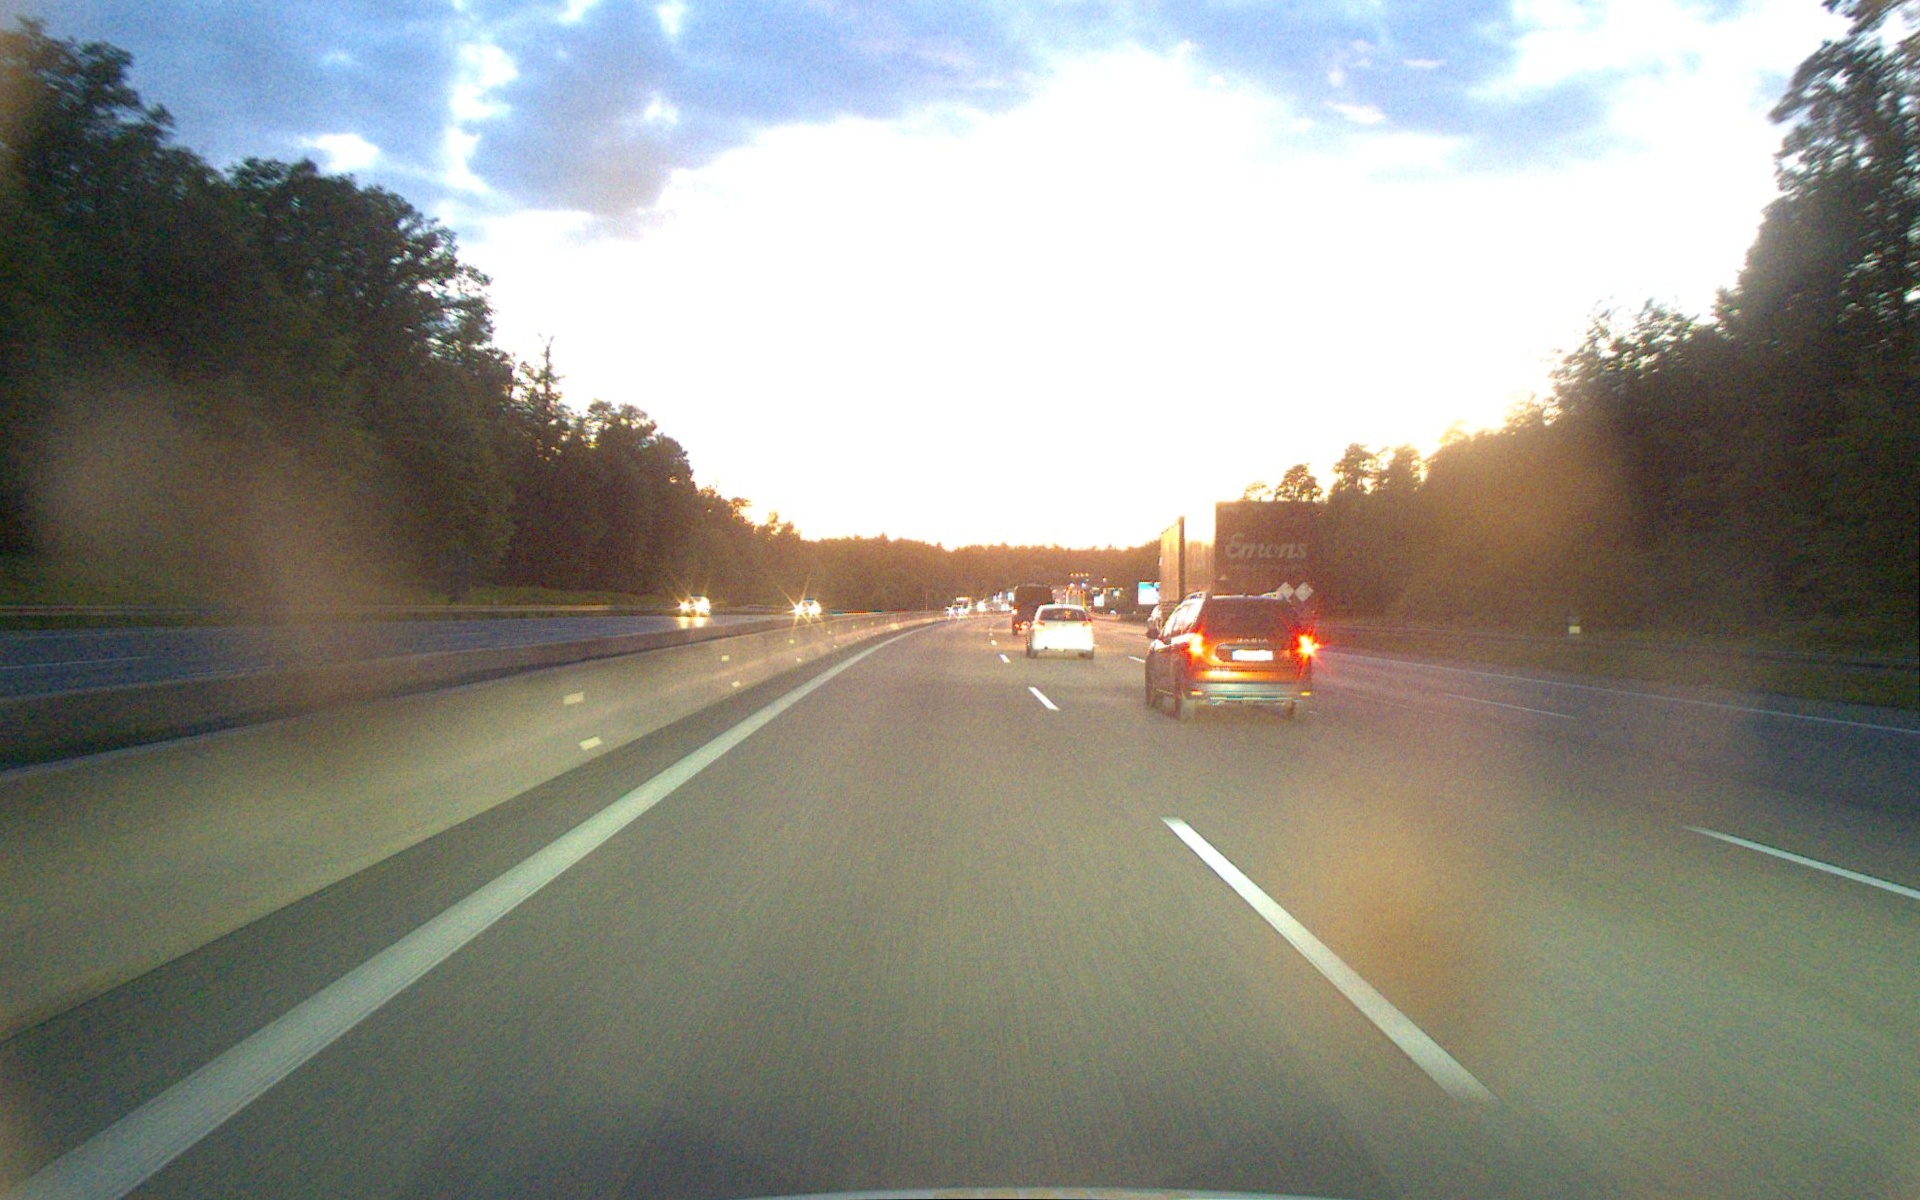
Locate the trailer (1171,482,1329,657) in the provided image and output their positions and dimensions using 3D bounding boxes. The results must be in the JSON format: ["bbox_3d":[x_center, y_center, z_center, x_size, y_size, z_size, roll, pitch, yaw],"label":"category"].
[{"bbox_3d":[7.654,-0.664,45.045,2.846,4.172,10.360,1,-1,2],"label":"trailer"}]

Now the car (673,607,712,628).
[{"bbox_3d":[-20.548,1.355,127.132,1.803,1.489,4.003,2,0,7],"label":"car"}]

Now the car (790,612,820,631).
[{"bbox_3d":[-13.081,1.782,139.941,1.804,1.489,4.777,2,0,3],"label":"car"}]

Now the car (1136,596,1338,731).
[{"bbox_3d":[3.721,0.795,23.143,1.864,1.672,5.051,1,0,-1],"label":"car"}]

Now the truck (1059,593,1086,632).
[{"bbox_3d":[17.398,1.998,256.036,4.062,5.959,14.302,1,-1,4],"label":"truck"}]

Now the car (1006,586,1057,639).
[{"bbox_3d":[3.481,0.617,79.347,2.120,2.461,5.567,0,-1,5],"label":"car"}]

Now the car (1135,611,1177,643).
[{"bbox_3d":[9.800,1.358,82.996,1.965,1.565,4.002,1,-1,5],"label":"car"}]

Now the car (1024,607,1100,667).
[{"bbox_3d":[2.754,0.993,45.431,1.821,1.467,3.720,1,1,0],"label":"car"}]

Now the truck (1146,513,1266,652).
[{"bbox_3d":[8.062,-0.451,55.598,2.825,4.172,10.834,1,-1,2],"label":"truck"}]
